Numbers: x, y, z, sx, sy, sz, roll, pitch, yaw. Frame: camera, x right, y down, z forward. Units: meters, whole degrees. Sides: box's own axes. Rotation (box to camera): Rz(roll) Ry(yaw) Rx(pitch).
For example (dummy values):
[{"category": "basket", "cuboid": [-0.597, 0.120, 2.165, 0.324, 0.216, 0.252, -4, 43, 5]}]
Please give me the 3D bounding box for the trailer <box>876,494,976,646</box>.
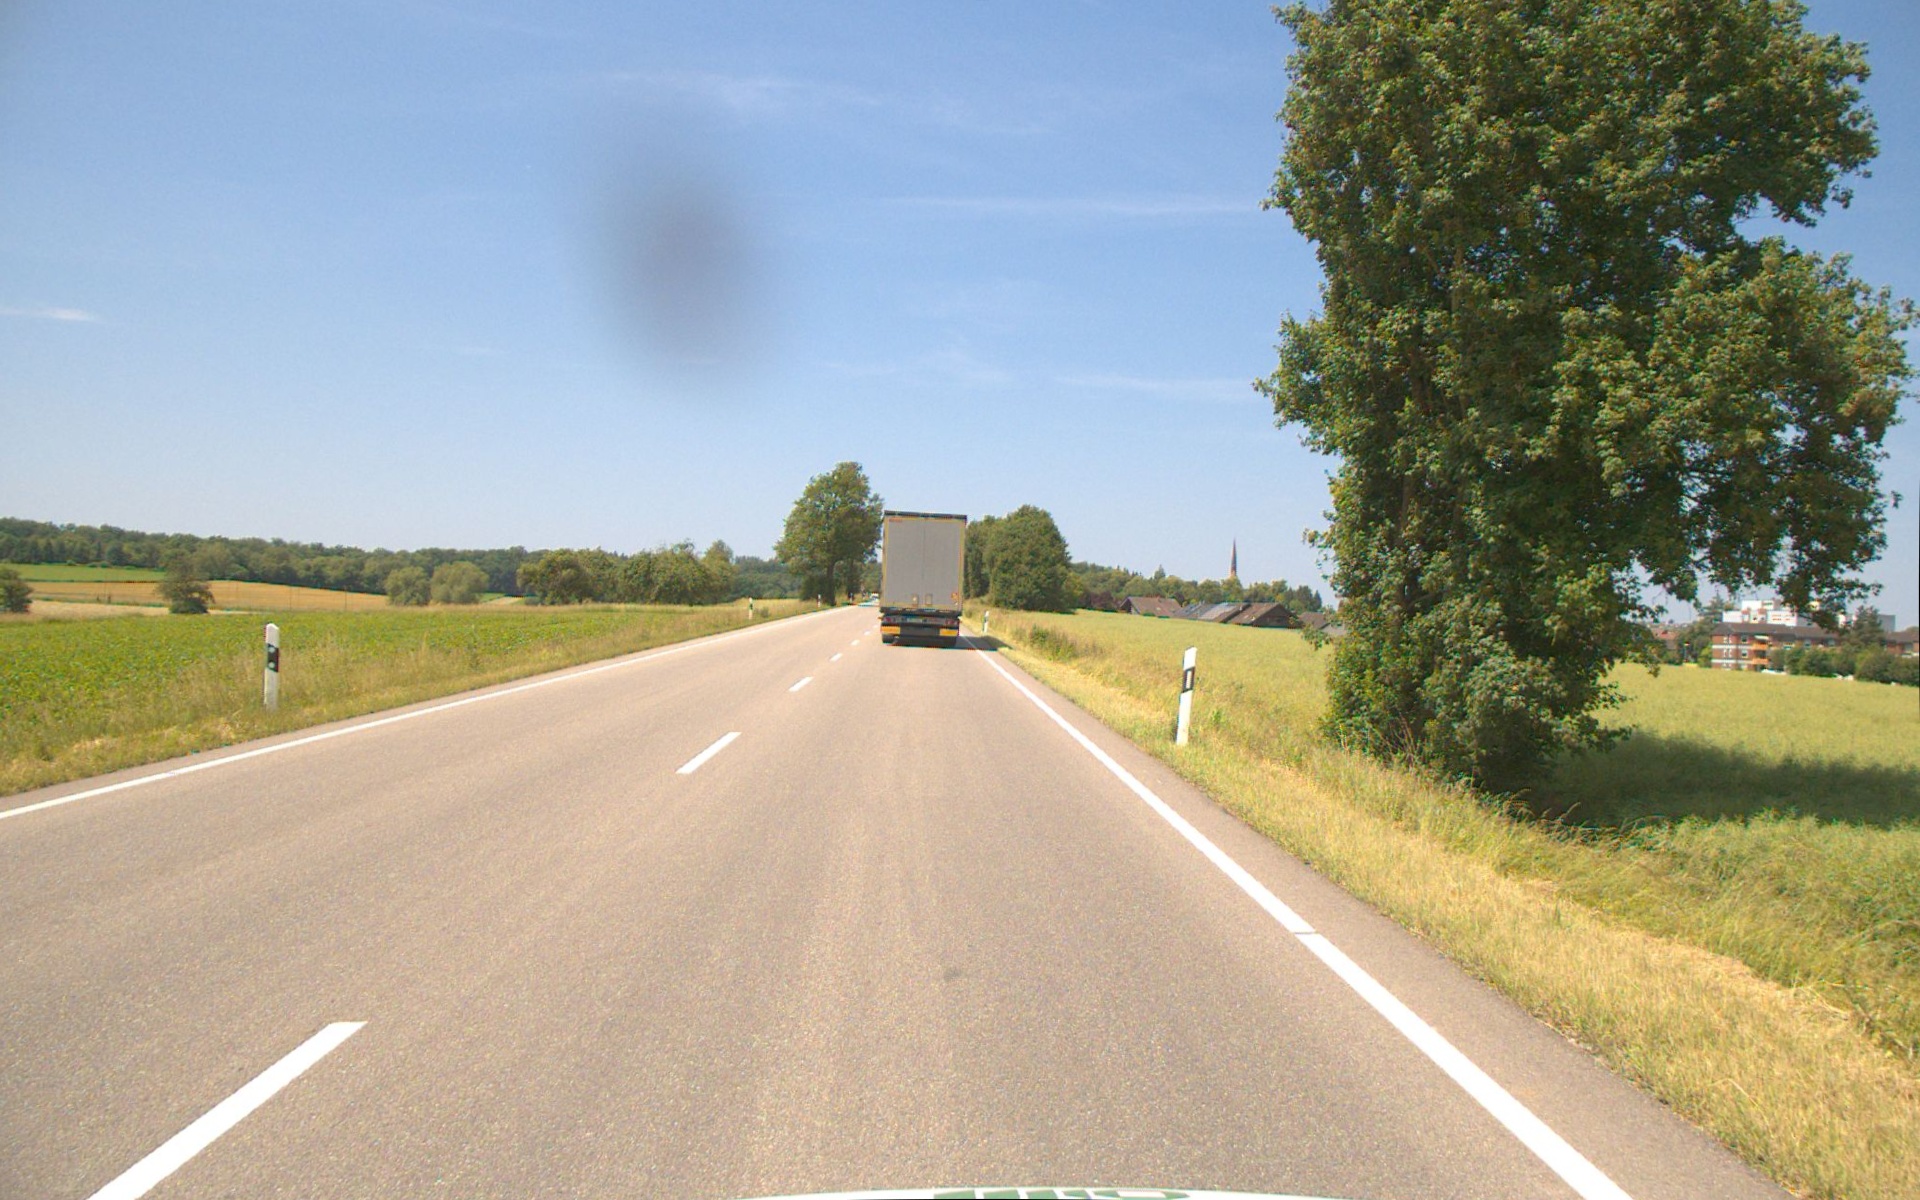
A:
[{"category": "trailer", "cuboid": [-1.351, -0.935, 56.282, 2.810, 4.477, 13.484, 2, 0, -3]}]
